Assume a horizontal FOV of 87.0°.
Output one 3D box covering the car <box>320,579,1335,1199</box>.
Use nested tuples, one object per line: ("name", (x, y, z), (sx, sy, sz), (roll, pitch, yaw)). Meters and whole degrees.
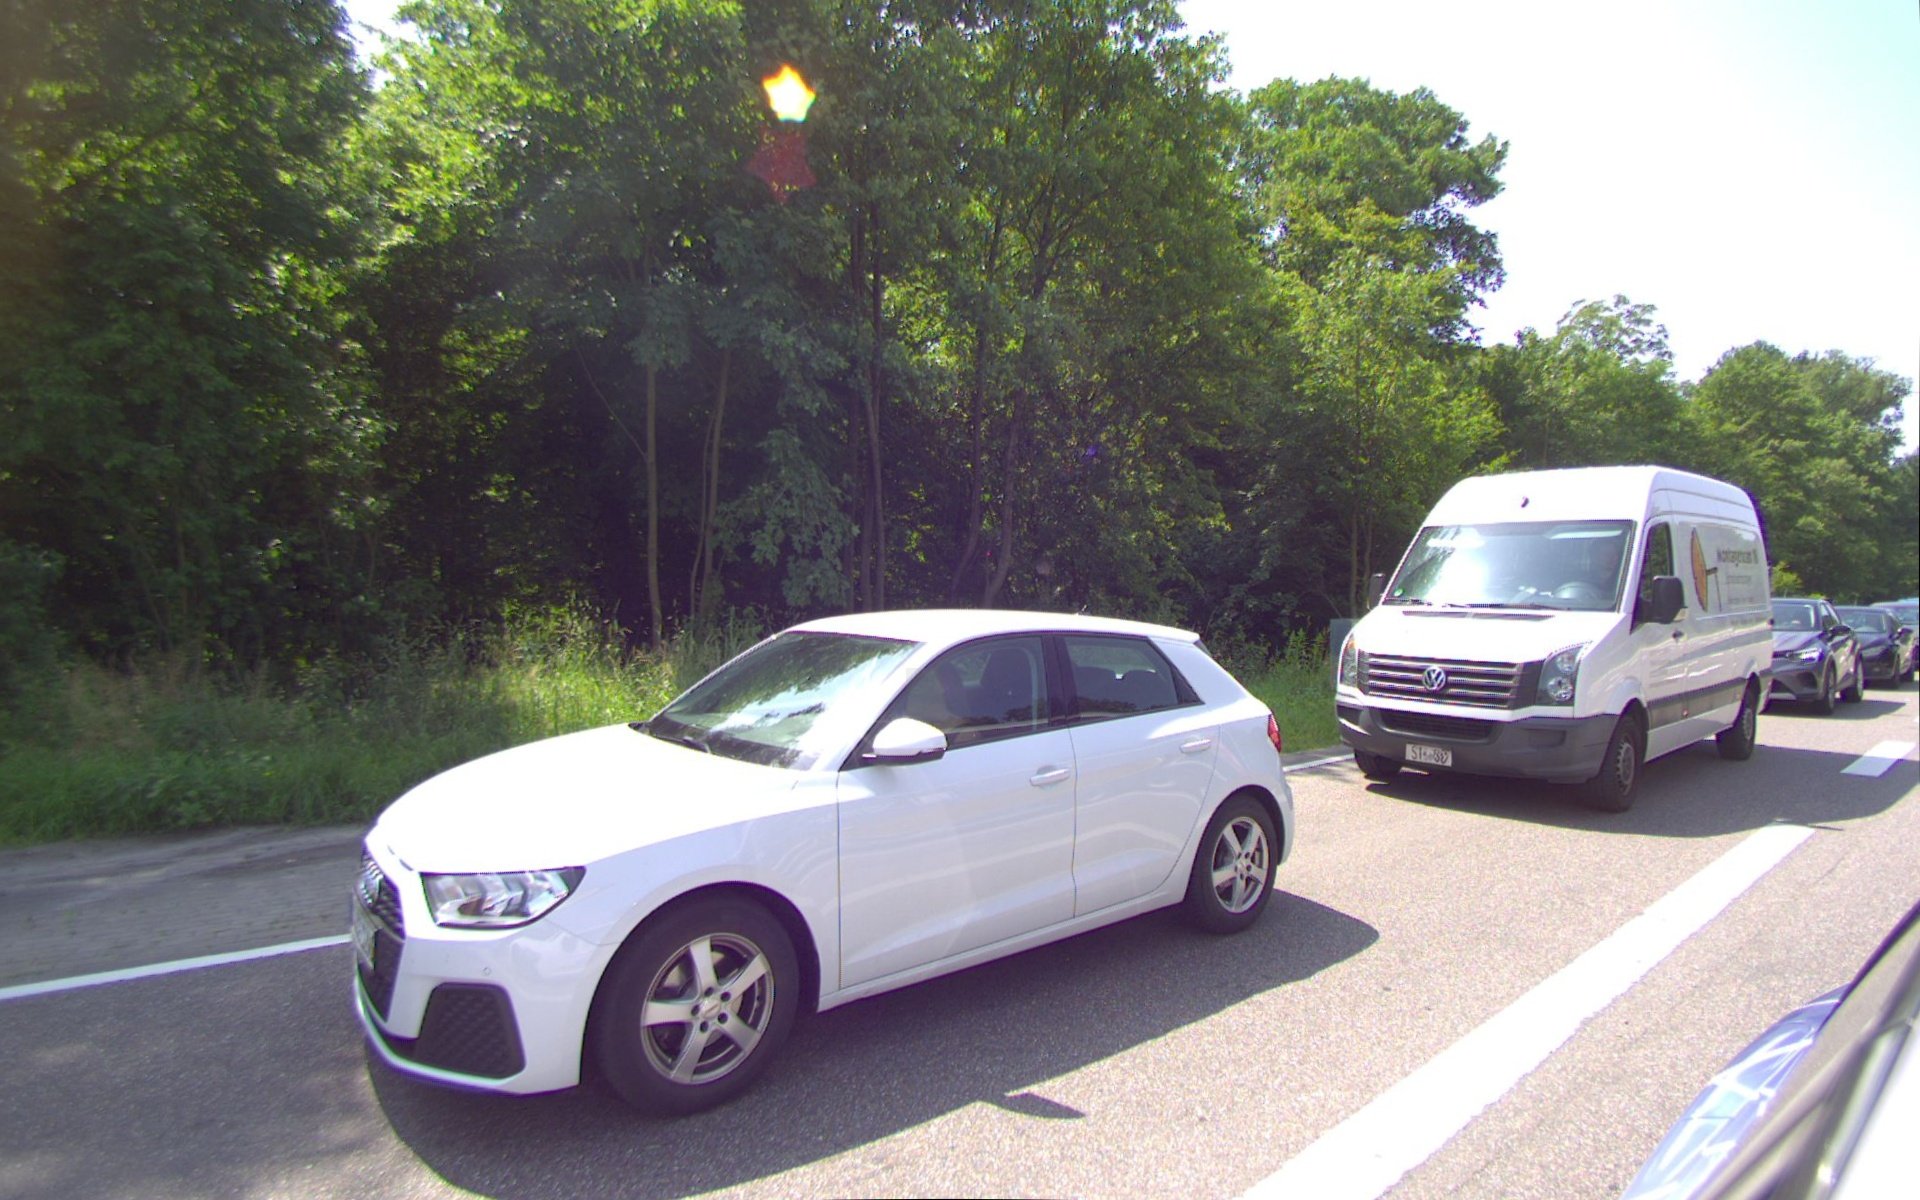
("car", (-0.276, 0.685, 4.249), (3.927, 1.454, 1.693), (0, -1, -39))

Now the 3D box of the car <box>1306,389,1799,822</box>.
("car", (5.542, 0.036, 8.969), (5.953, 2.679, 1.973), (0, 0, -41))

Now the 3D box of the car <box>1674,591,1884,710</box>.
("car", (11.938, 0.612, 14.659), (4.157, 1.479, 1.794), (0, 0, -43))

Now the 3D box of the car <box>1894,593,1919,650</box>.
("car", (26.847, 0.570, 27.517), (4.157, 1.457, 1.794), (0, 1, -43))

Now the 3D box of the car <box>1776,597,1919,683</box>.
("car", (16.607, 0.647, 18.700), (4.157, 1.372, 1.794), (0, 1, -43))

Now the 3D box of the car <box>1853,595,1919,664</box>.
("car", (22.087, 0.643, 23.354), (4.157, 1.457, 1.794), (0, 1, -43))
